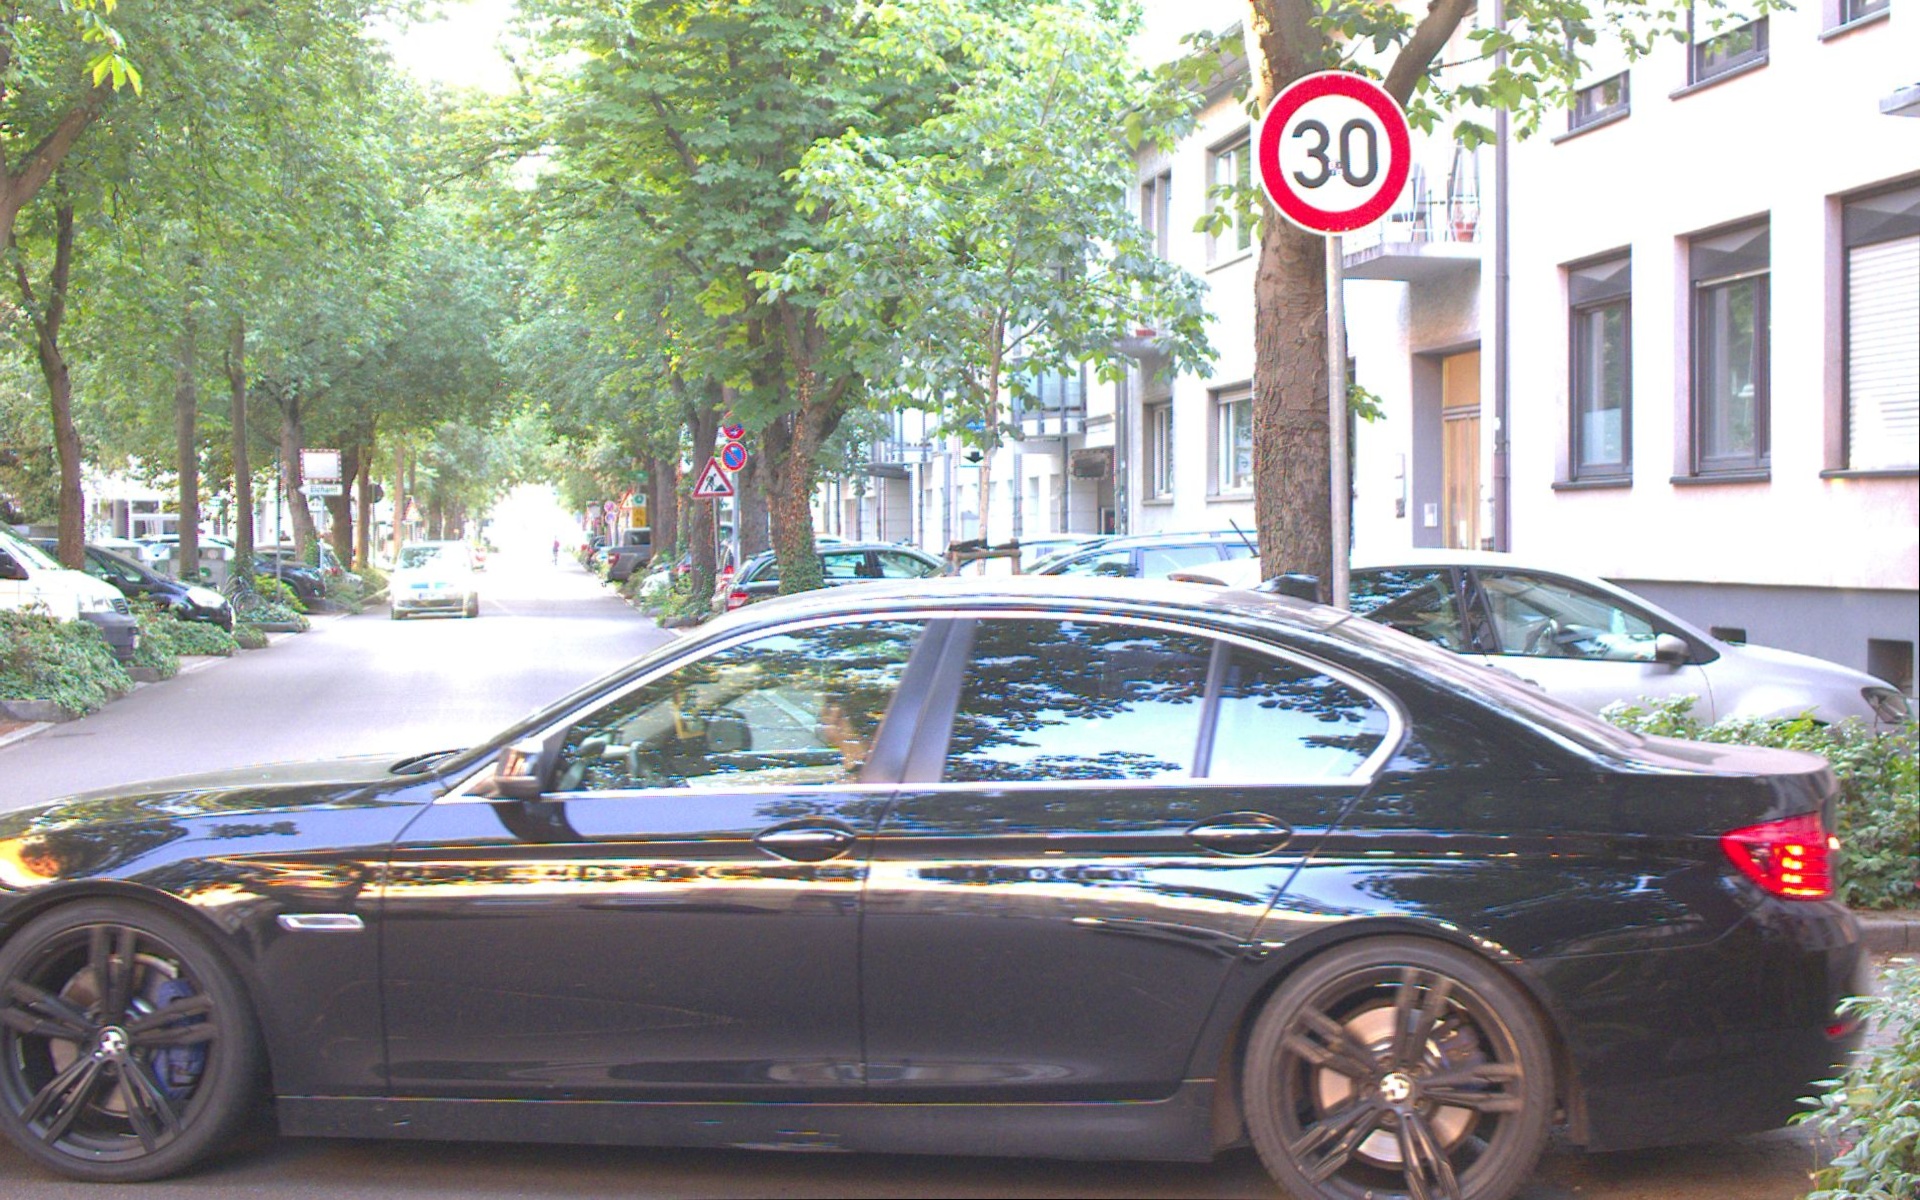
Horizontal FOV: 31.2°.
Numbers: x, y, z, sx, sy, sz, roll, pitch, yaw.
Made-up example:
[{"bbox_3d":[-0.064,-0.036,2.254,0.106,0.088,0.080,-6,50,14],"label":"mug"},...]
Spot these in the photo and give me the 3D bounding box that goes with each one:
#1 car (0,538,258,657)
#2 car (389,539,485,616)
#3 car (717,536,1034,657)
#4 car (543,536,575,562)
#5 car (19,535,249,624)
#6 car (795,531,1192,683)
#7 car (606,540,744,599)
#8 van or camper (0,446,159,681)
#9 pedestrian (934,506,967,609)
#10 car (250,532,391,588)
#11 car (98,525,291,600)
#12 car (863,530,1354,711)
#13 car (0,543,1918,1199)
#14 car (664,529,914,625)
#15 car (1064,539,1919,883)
[{"bbox_3d":[-11.929,-0.051,48.046,3.967,1.614,1.785,0,1,-6],"label":"car"},{"bbox_3d":[-10.919,-0.492,71.992,1.779,1.557,4.169,0,1,-6],"label":"car"},{"bbox_3d":[-1.135,-0.066,44.964,3.967,1.522,1.785,-1,1,-7],"label":"car"},{"bbox_3d":[-23.864,-3.042,204.736,1.822,1.525,4.001,-1,1,-6],"label":"car"},{"bbox_3d":[-15.468,-0.398,64.512,3.967,1.614,1.785,0,1,-5],"label":"car"},{"bbox_3d":[0.317,0.047,36.153,3.967,1.522,1.785,-1,1,-7],"label":"car"},{"bbox_3d":[-8.357,-0.912,100.779,3.967,1.678,1.785,0,1,-5],"label":"car"},{"bbox_3d":[-11.132,-0.394,37.048,4.662,2.470,2.000,0,1,-7],"label":"van or camper"},{"bbox_3d":[-0.185,-0.828,67.123,0.589,2.007,0.669,0,1,-5],"label":"pedestrian"},{"bbox_3d":[-19.008,-1.200,102.318,3.967,1.614,1.785,0,1,-5],"label":"car"},{"bbox_3d":[-16.928,-0.841,76.133,3.967,1.614,1.785,0,1,-5],"label":"car"},{"bbox_3d":[1.240,0.148,29.681,3.967,1.471,1.785,-1,1,-8],"label":"car"},{"bbox_3d":[-0.232,0.612,8.414,4.746,1.475,1.800,0,1,7],"label":"car"},{"bbox_3d":[-2.852,-0.399,56.827,3.967,1.522,1.785,-1,1,-8],"label":"car"},{"bbox_3d":[2.559,0.465,16.079,3.908,1.471,1.665,-1,1,-8],"label":"car"}]
